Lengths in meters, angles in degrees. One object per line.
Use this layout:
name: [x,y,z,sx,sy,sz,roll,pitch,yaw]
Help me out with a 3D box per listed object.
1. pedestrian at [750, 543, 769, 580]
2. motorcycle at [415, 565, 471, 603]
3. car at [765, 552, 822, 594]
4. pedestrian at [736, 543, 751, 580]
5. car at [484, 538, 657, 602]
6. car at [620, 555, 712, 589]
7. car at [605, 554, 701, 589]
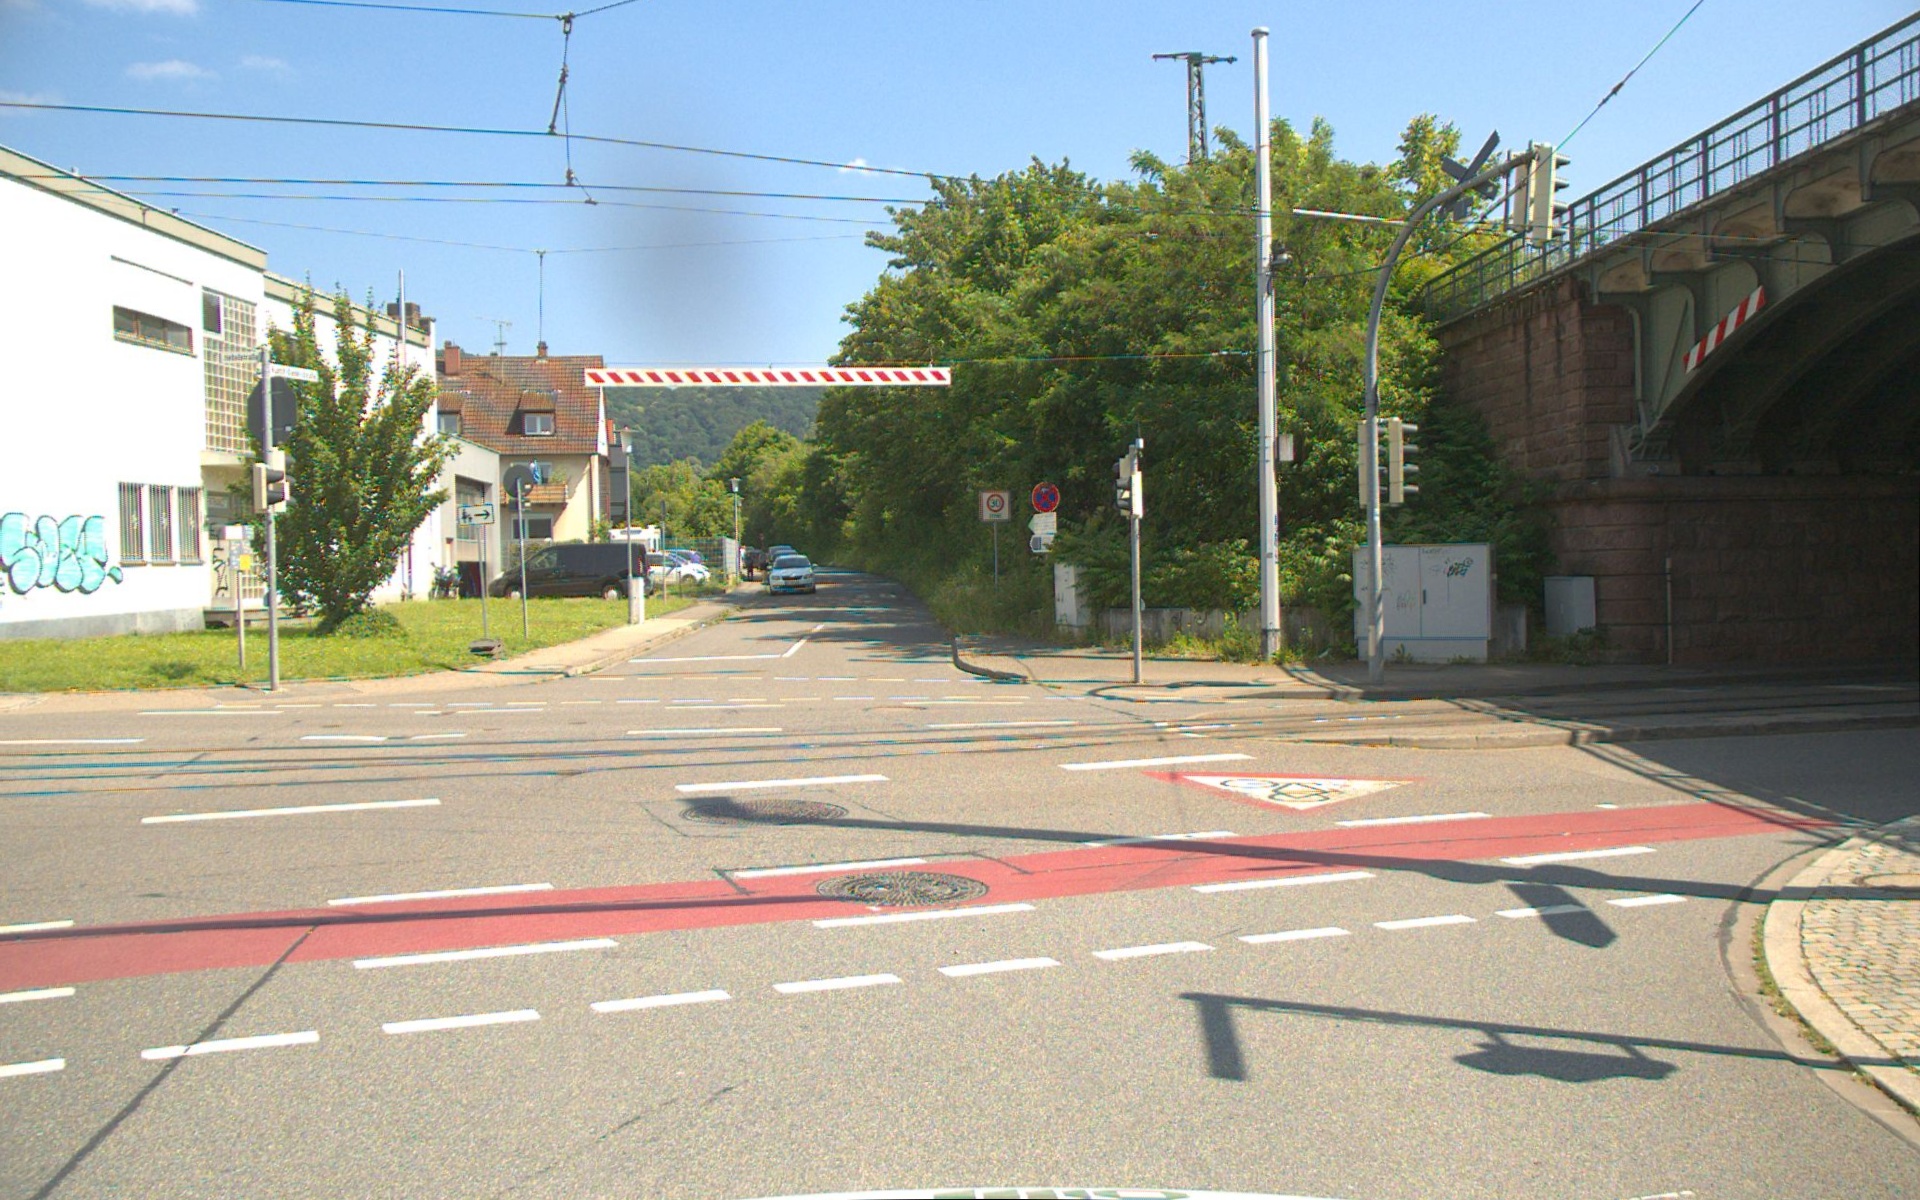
pedestrian: [-9.771,-1.890,80.719,0.858,1.793,0.730,0,0,-4]
motorcycle: [-15.033,-0.451,48.160,0.834,1.050,2.567,0,0,0]
car: [-6.481,-1.074,64.730,2.045,1.536,4.537,0,2,-3]
pedestrian: [-10.598,-1.889,81.036,0.641,1.793,0.803,0,0,-4]
car: [-12.560,-0.974,53.634,5.146,1.847,1.998,-2,1,-5]
car: [-12.487,-1.178,70.429,3.646,1.395,1.604,0,0,-3]
car: [-12.546,-1.153,67.767,3.646,1.395,1.604,0,0,-3]
